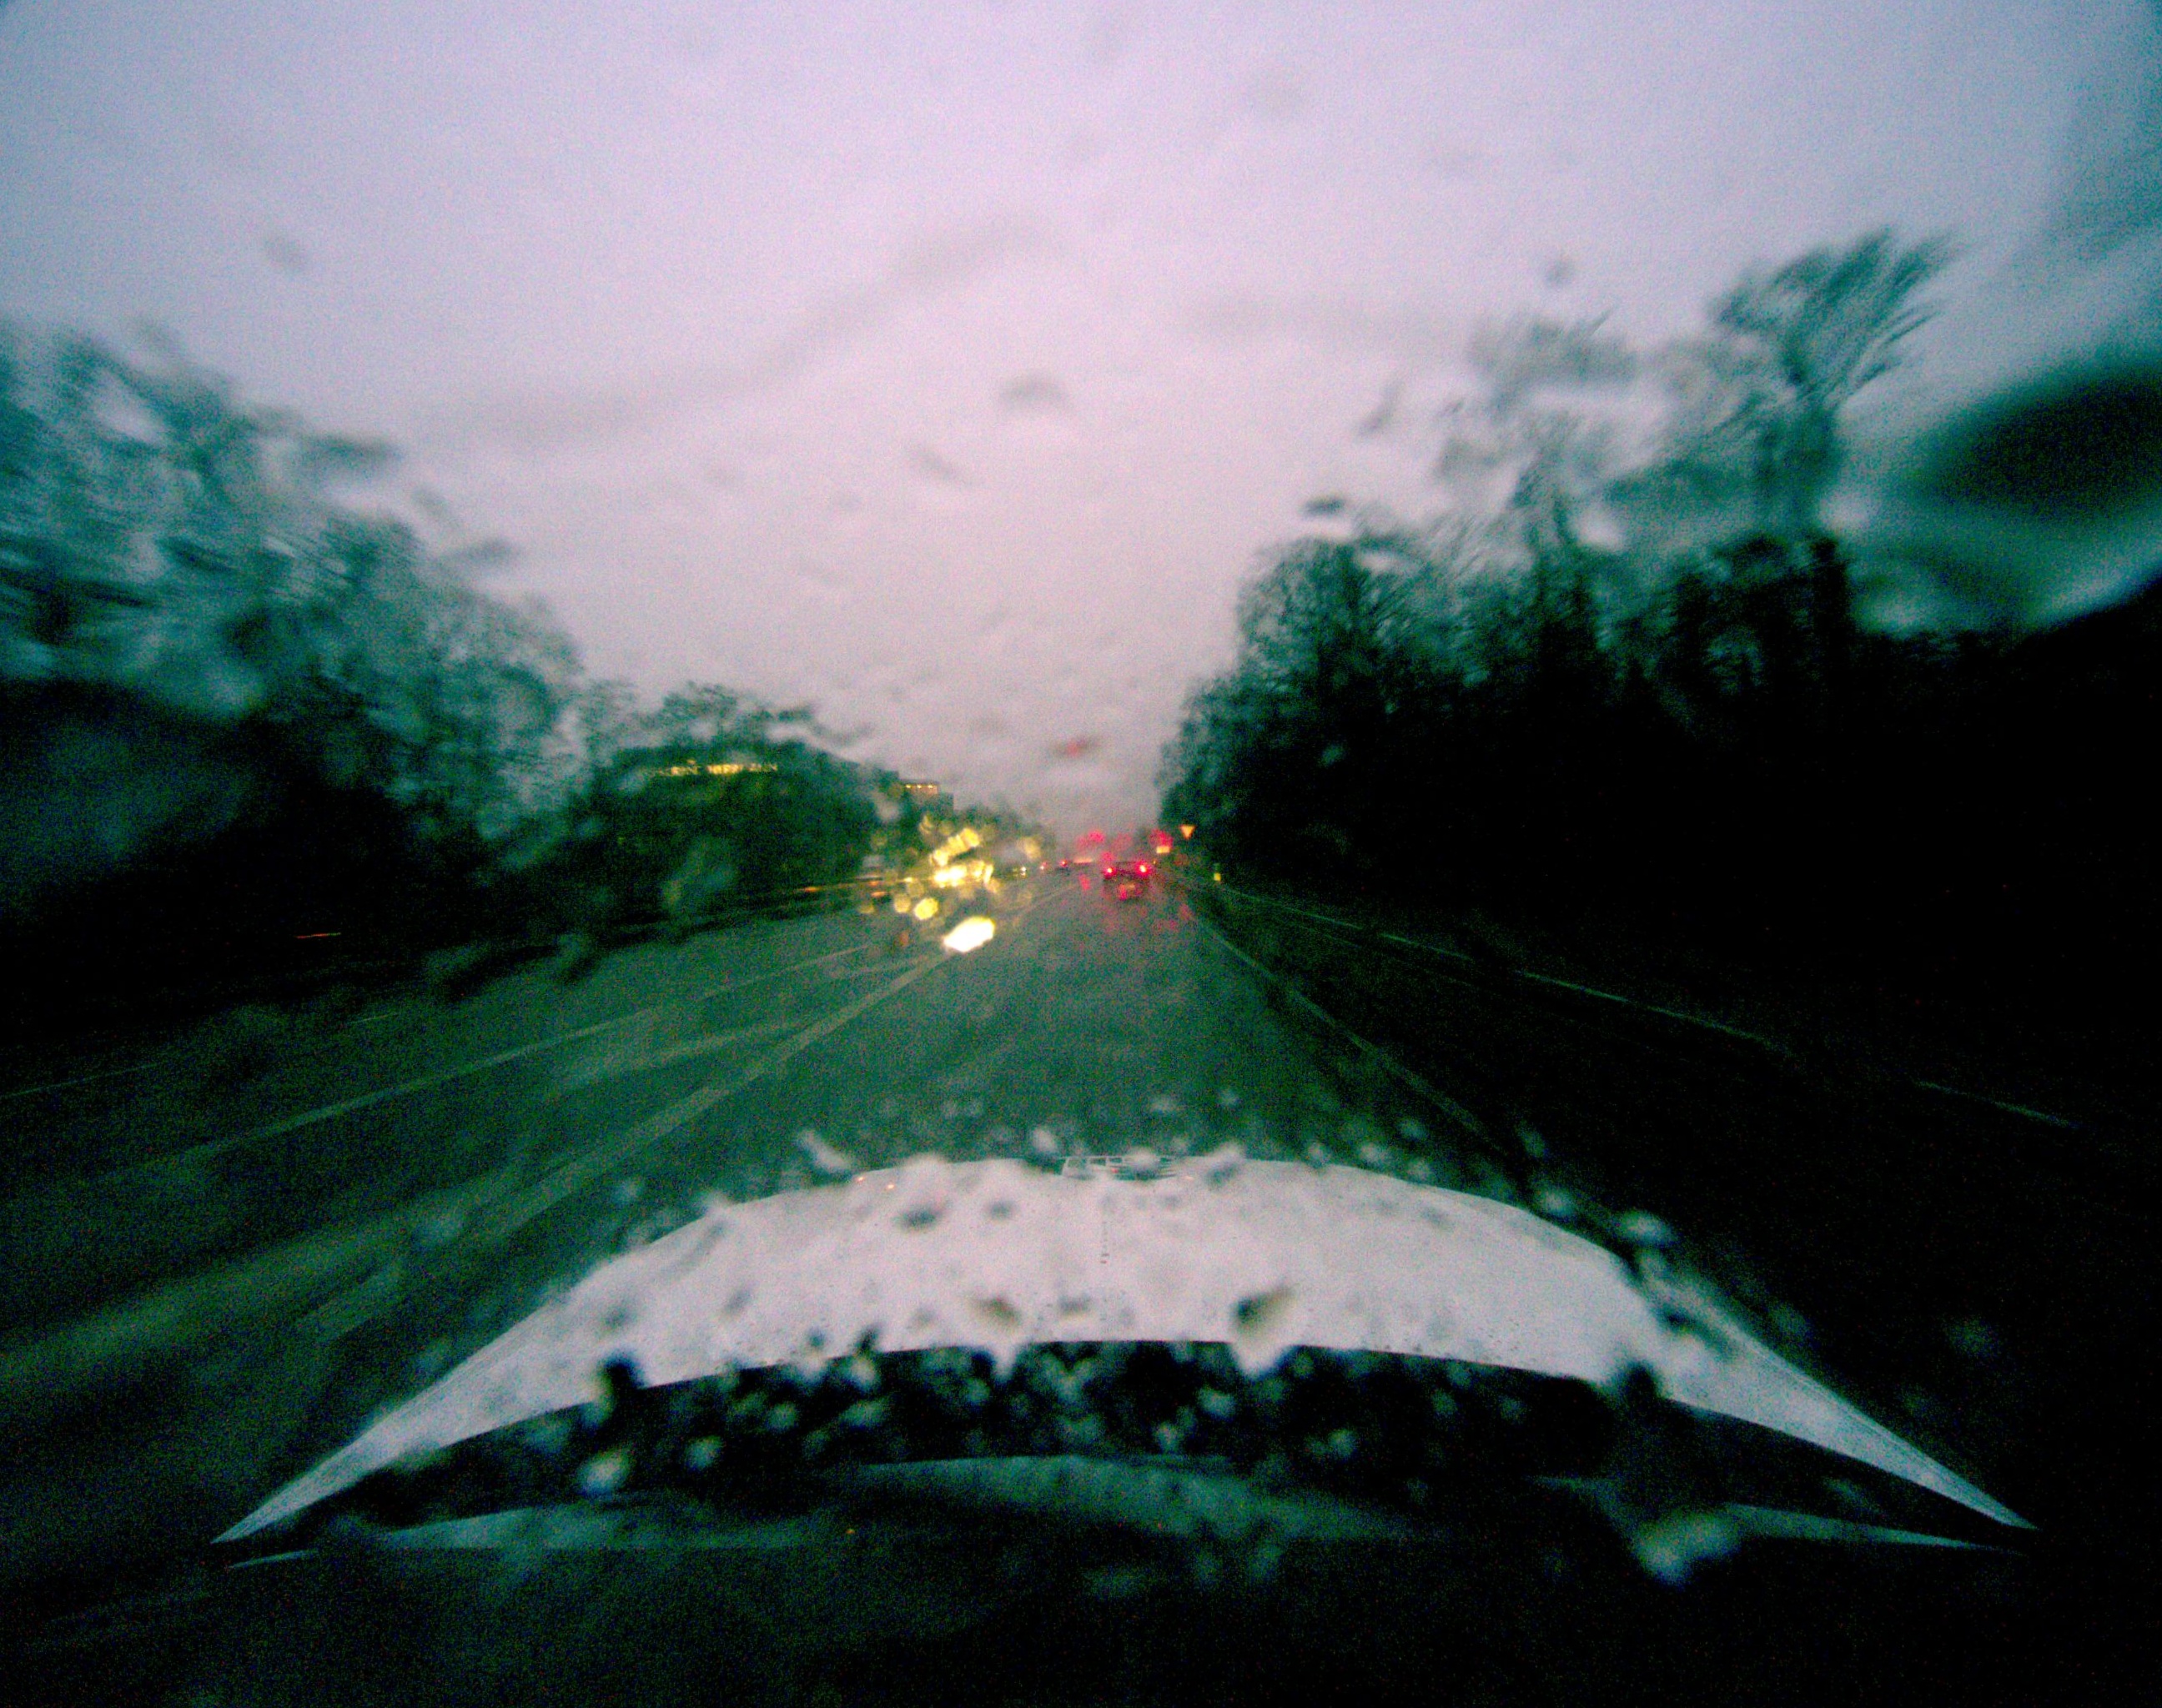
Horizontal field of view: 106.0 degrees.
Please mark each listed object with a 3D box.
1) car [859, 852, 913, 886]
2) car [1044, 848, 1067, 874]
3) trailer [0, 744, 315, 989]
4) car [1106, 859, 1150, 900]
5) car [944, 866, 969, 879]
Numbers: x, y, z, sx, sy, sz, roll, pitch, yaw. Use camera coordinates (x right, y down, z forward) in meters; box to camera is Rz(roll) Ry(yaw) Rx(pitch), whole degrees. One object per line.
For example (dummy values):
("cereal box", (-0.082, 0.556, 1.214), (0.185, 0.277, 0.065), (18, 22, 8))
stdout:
("car", (-16.645, 1.263, 69.873), (2.515, 2.730, 6.350), (-1, 0, 6))
("car", (-2.469, 0.644, 80.025), (1.994, 2.453, 4.000), (-1, 0, 0))
("trailer", (-23.207, 0.263, 15.415), (3.471, 4.847, 13.506), (-1, 0, 7))
("car", (1.742, 0.914, 30.367), (1.521, 1.416, 3.481), (-1, 0, 3))
("car", (-14.071, 2.087, 92.265), (1.701, 1.322, 4.480), (-1, 0, 6))
